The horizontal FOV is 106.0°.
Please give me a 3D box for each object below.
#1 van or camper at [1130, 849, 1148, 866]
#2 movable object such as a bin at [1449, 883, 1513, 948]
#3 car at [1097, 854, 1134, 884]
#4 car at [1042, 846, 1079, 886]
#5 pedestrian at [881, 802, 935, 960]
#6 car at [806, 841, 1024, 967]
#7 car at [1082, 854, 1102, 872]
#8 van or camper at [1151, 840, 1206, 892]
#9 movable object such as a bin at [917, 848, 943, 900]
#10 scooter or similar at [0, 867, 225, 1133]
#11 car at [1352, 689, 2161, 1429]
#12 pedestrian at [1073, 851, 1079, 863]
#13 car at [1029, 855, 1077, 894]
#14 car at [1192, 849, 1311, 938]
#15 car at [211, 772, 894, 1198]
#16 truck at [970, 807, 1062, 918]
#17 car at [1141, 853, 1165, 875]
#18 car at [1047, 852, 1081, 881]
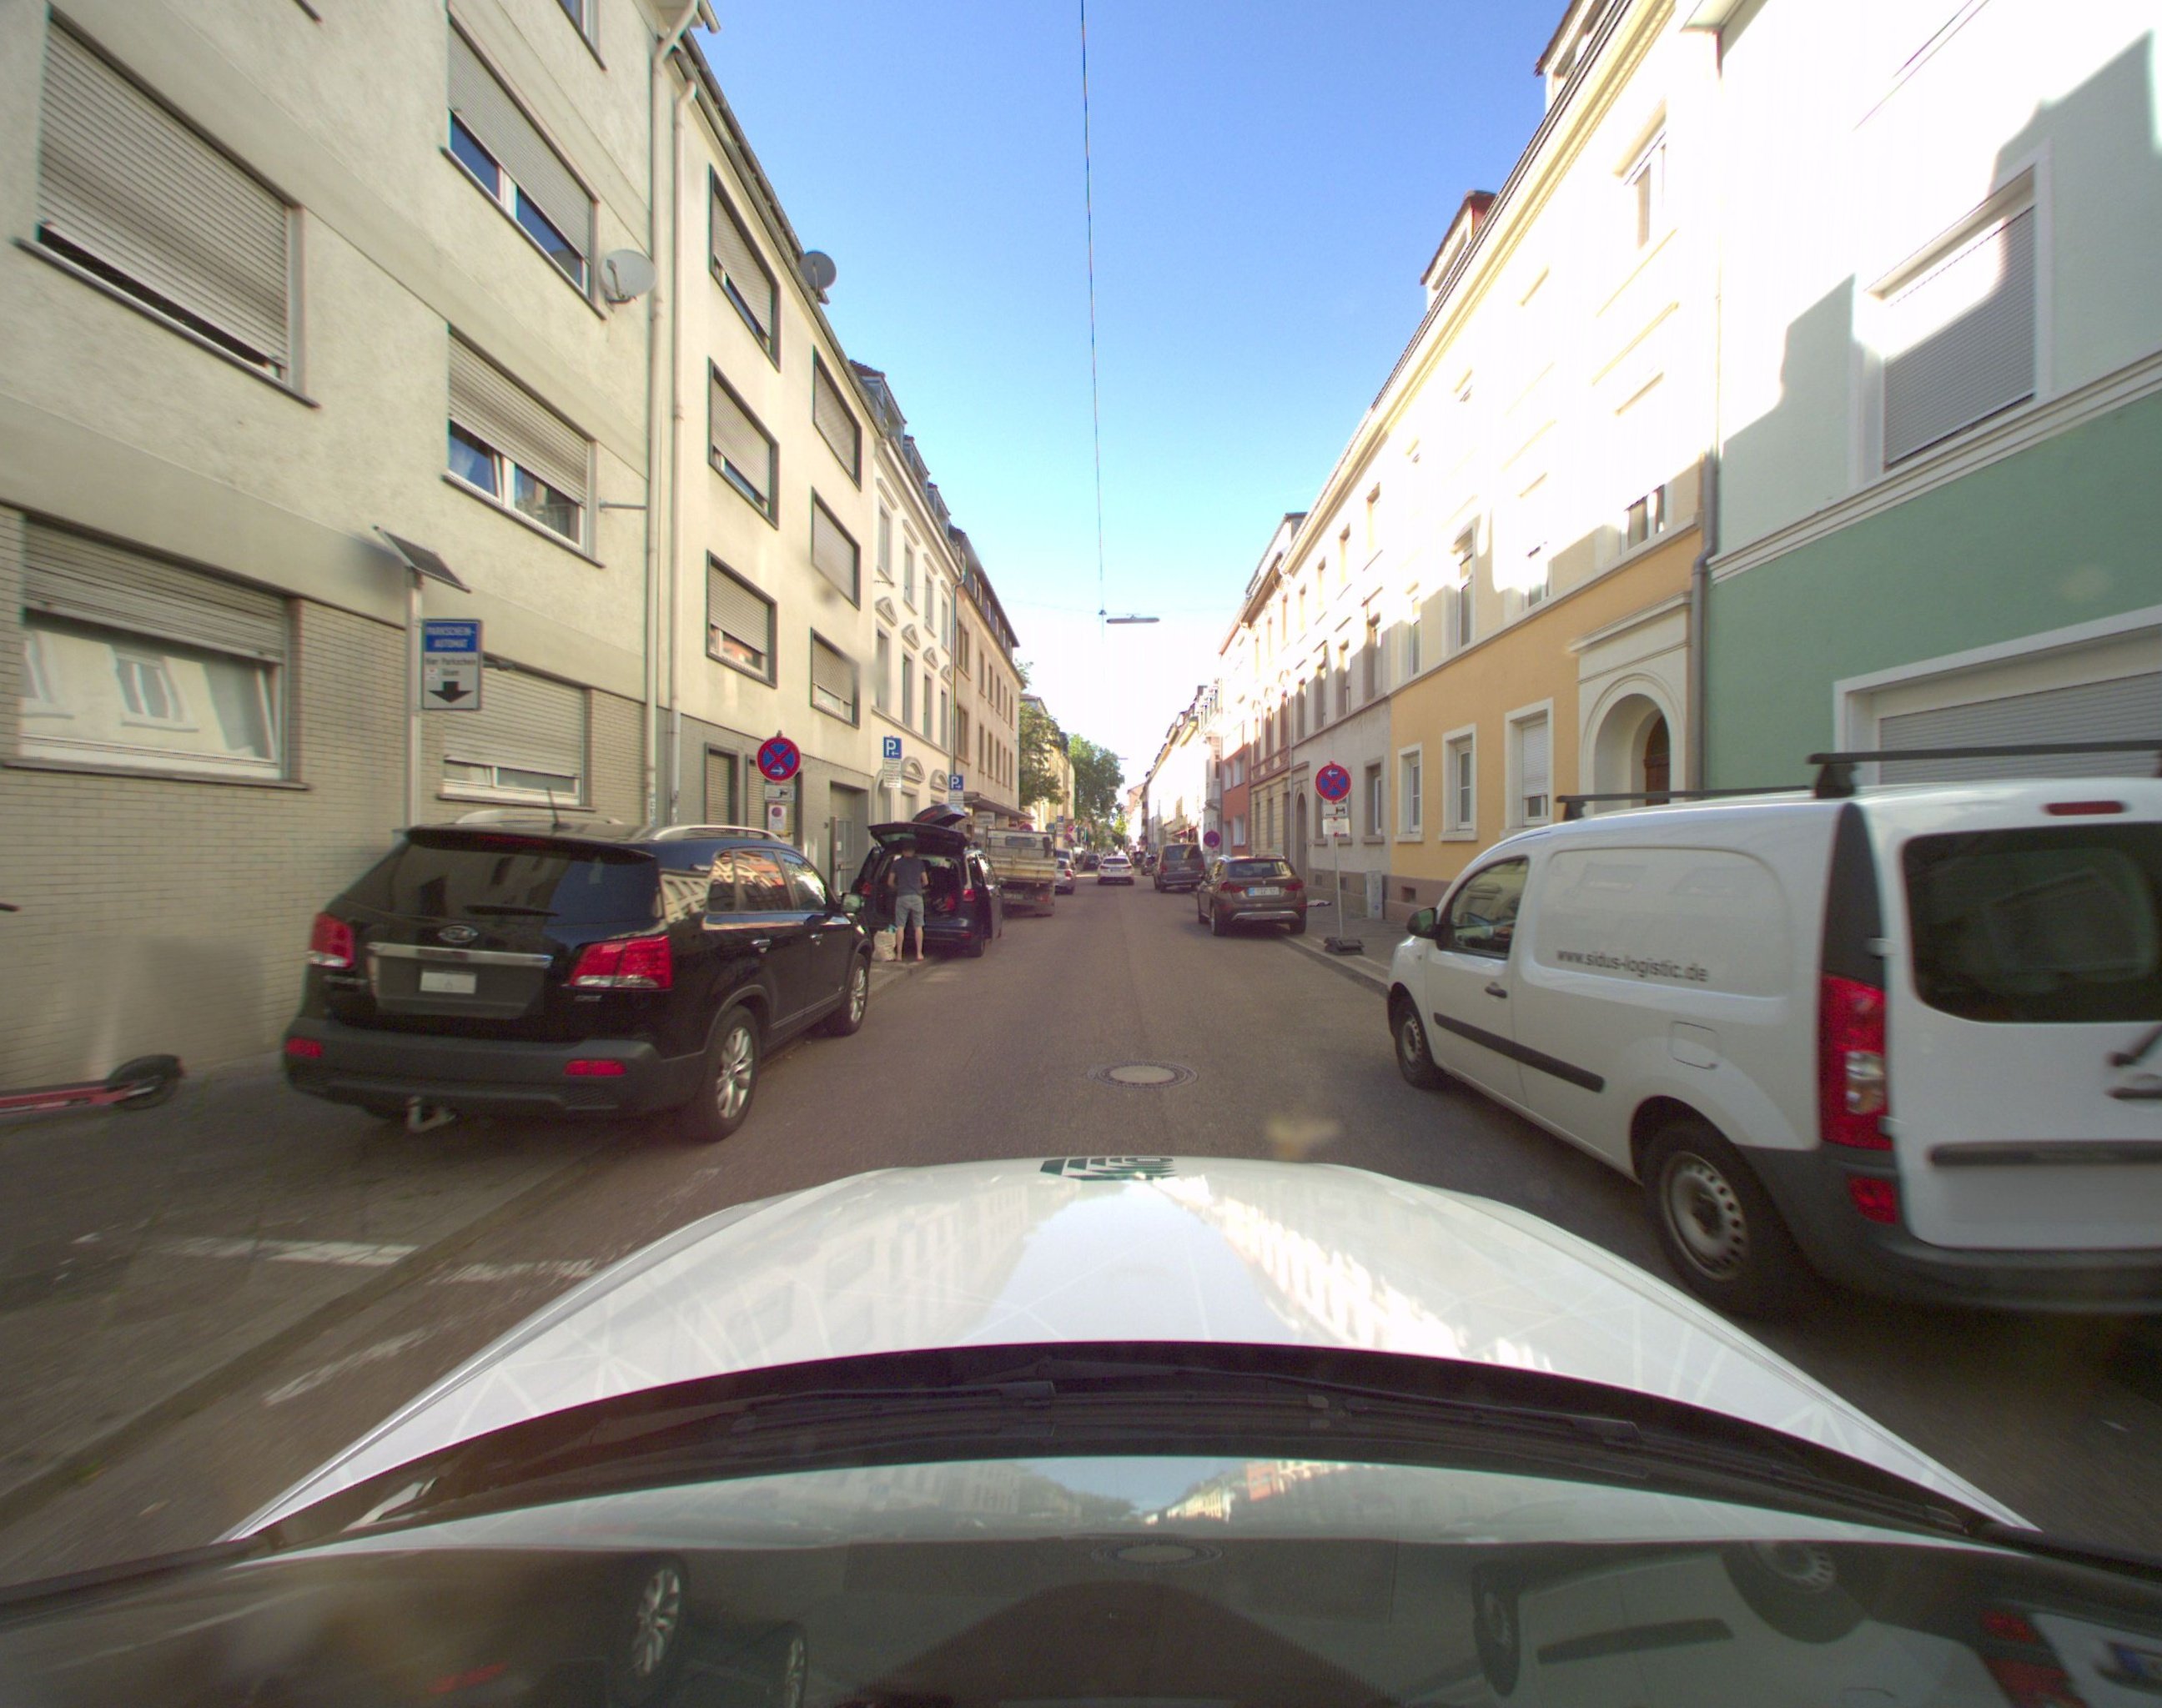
[{"bbox_3d":[6.931,0.461,97.119,1.986,1.926,4.002,0,-1,2],"label":"van or camper"},{"bbox_3d":[6.036,0.920,12.306,0.651,0.936,0.642,0,0,0],"label":"movable object such as a bin"},{"bbox_3d":[1.803,0.730,41.846,1.826,1.486,4.060,0,0,3],"label":"car"},{"bbox_3d":[-0.949,0.542,39.221,1.642,1.867,3.999,0,0,0],"label":"car"},{"bbox_3d":[-2.504,0.391,11.861,0.616,2.229,0.688,0,-1,2],"label":"pedestrian"},{"bbox_3d":[-2.471,0.670,13.824,2.432,1.706,5.245,1,0,2],"label":"car"},{"bbox_3d":[1.030,0.810,74.549,1.618,1.597,3.582,1,0,2],"label":"car"},{"bbox_3d":[4.092,0.495,34.844,1.769,2.036,4.569,-2,0,0],"label":"van or camper"},{"bbox_3d":[-4.430,0.580,23.908,0.637,1.532,0.587,0,0,2],"label":"movable object such as a bin"},{"bbox_3d":[-5.341,0.719,4.214,0.433,1.278,1.241,-1,0,43],"label":"scooter or similar"},{"bbox_3d":[3.011,0.545,4.330,1.776,1.961,4.337,0,0,1],"label":"car"},{"bbox_3d":[-0.646,0.386,104.312,0.625,1.464,0.575,0,-1,2],"label":"pedestrian"},{"bbox_3d":[-1.085,0.776,33.367,1.752,1.415,4.001,-2,0,1],"label":"car"},{"bbox_3d":[3.414,0.708,17.062,1.733,1.577,4.380,0,1,2],"label":"car"},{"bbox_3d":[-2.786,0.545,5.785,1.874,1.755,4.540,3,1,-1],"label":"car"},{"bbox_3d":[-1.645,0.254,22.289,2.151,2.590,6.243,0,-1,-2],"label":"truck"},{"bbox_3d":[5.223,0.688,59.395,1.640,1.576,3.681,0,0,3],"label":"car"},{"bbox_3d":[-0.934,0.680,46.405,1.640,1.576,3.681,0,0,3],"label":"car"}]
